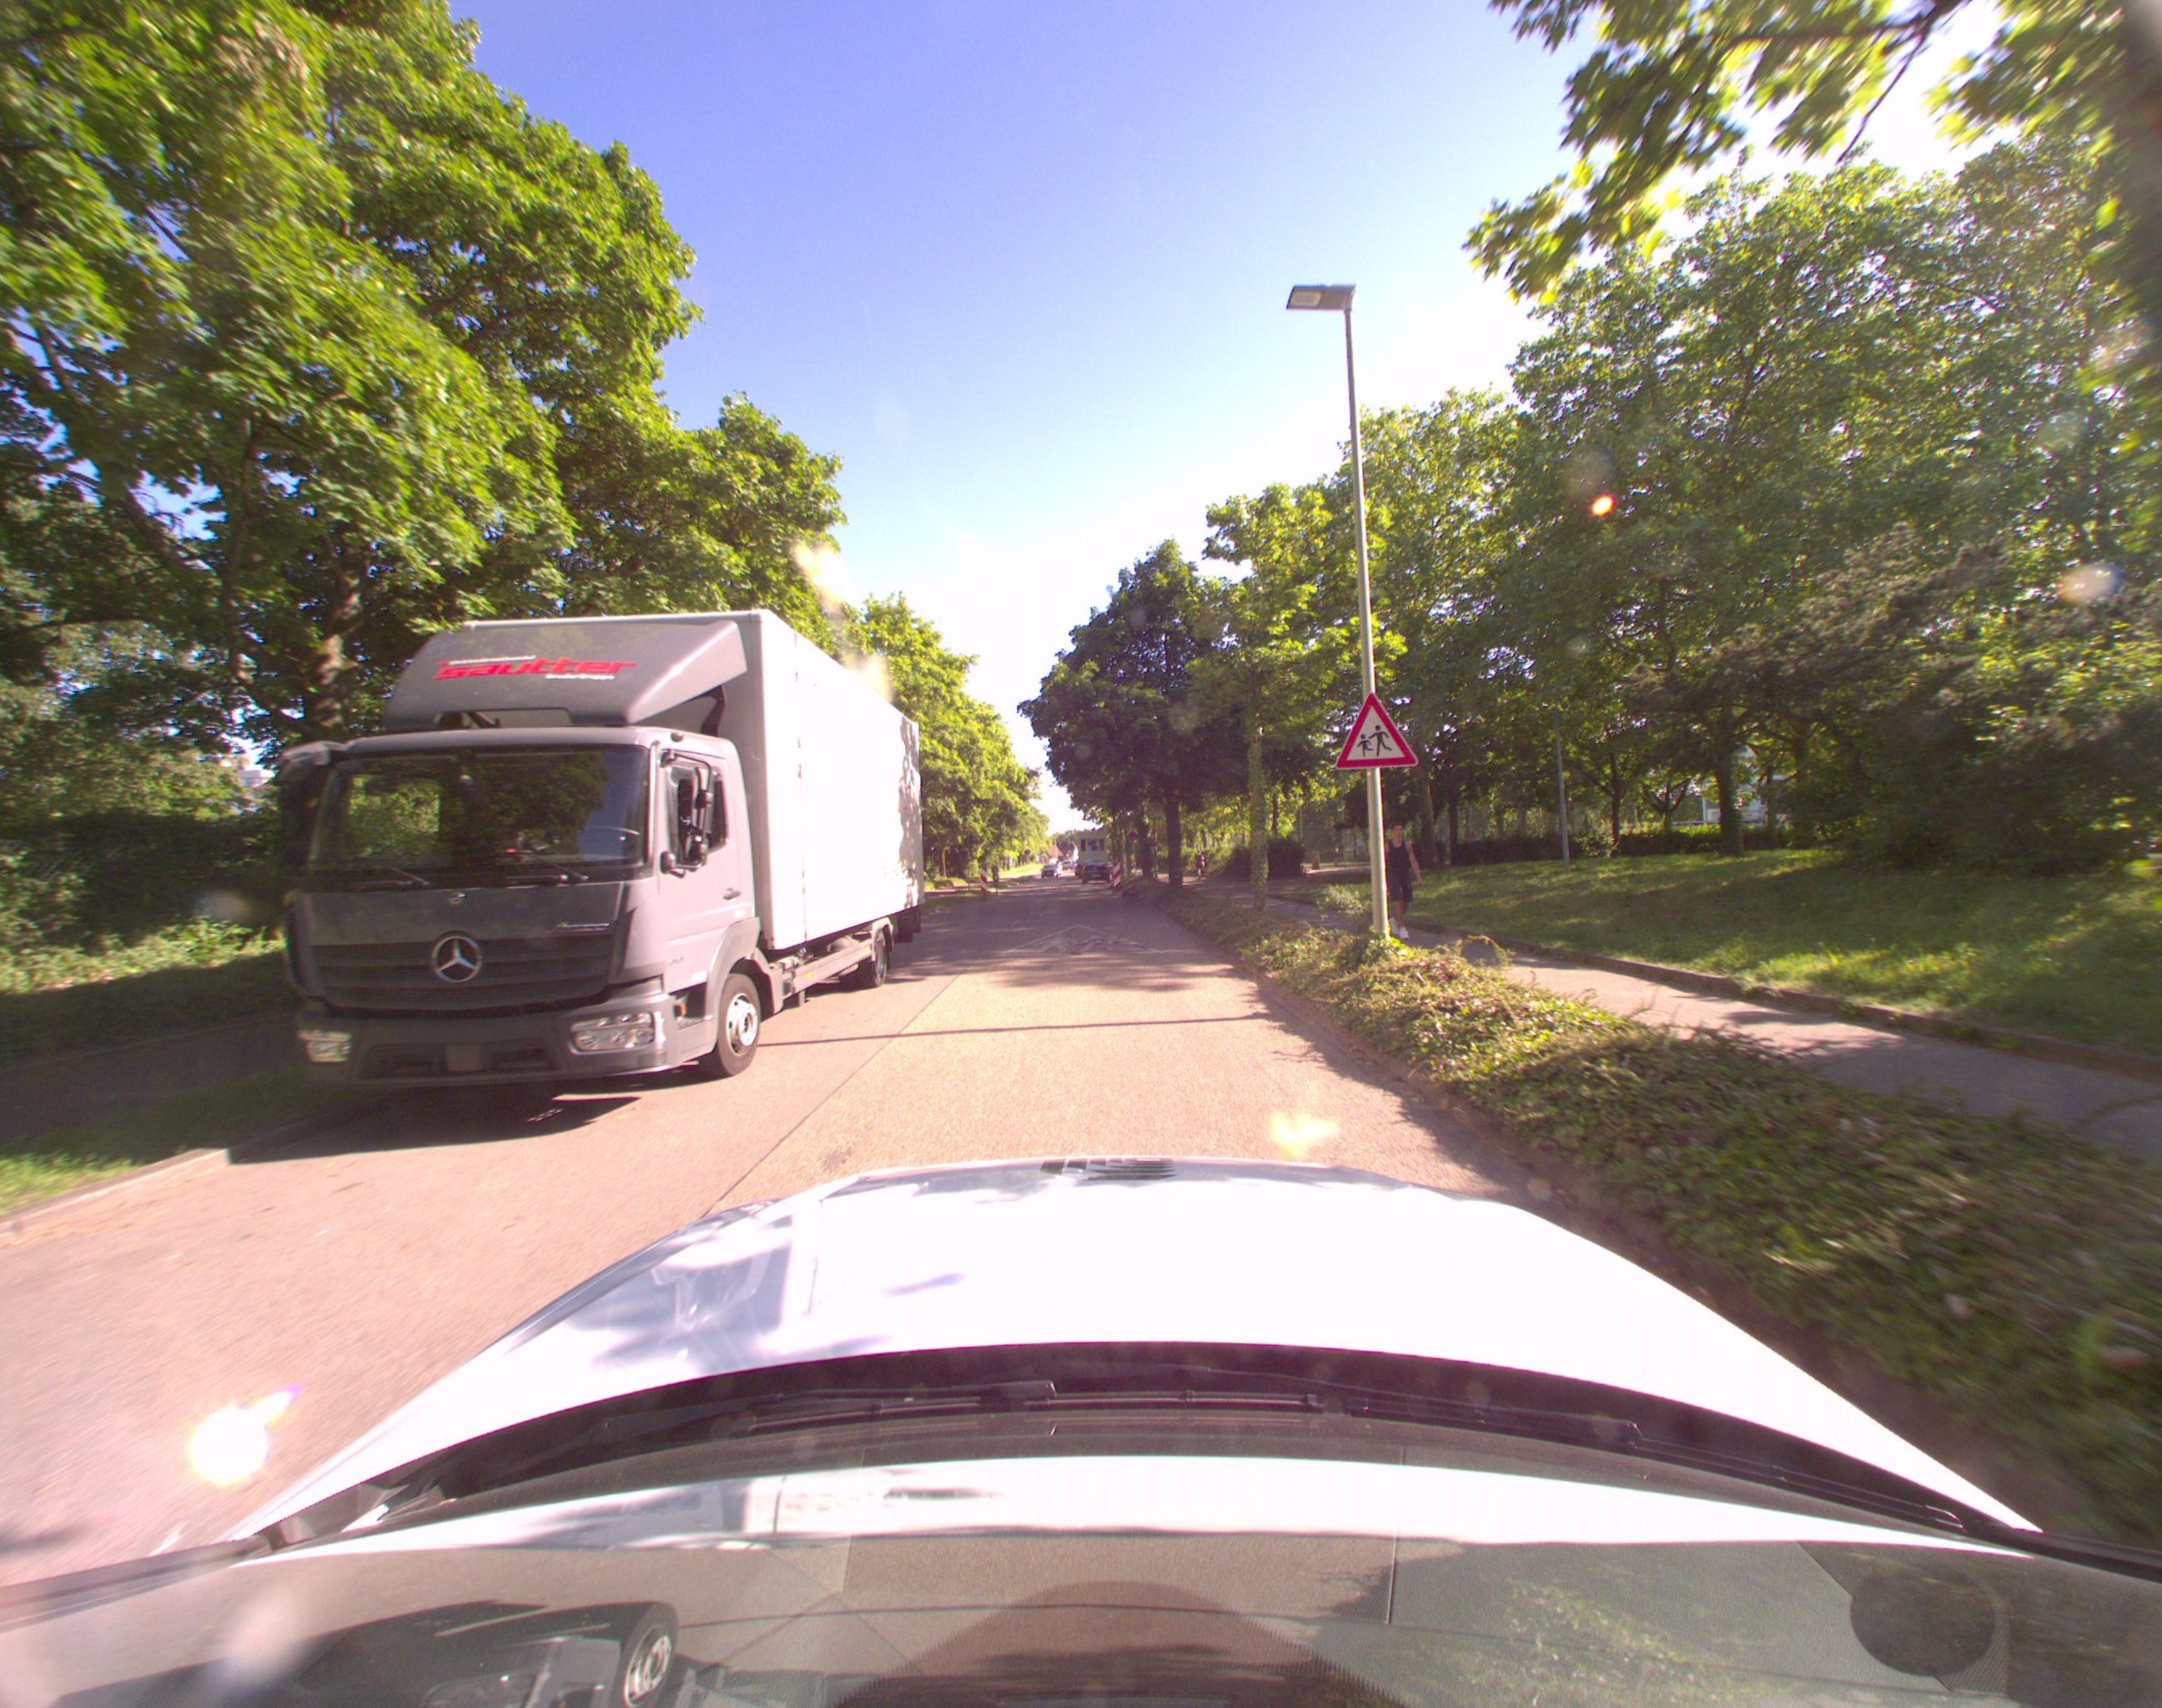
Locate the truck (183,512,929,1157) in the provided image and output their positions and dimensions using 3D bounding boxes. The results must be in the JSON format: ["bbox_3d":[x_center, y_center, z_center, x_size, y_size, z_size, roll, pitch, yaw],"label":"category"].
[{"bbox_3d":[-3.787,-0.112,8.767,2.726,3.641,8.098,-2,0,-1],"label":"truck"}]

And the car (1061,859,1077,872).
[{"bbox_3d":[-1.870,1.845,130.416,1.983,2.013,4.007,-3,0,6],"label":"car"}]

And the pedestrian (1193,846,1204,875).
[{"bbox_3d":[6.502,0.358,45.019,0.568,1.608,0.673,-2,-1,9],"label":"pedestrian"}]

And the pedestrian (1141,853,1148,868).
[{"bbox_3d":[7.115,0.723,91.512,0.597,1.611,0.599,-4,-1,-3],"label":"pedestrian"}]

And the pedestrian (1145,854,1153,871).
[{"bbox_3d":[7.673,0.931,91.376,0.696,1.812,0.699,-4,-1,-3],"label":"pedestrian"}]

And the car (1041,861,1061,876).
[{"bbox_3d":[-3.119,1.532,85.048,1.594,1.426,3.655,-4,0,3],"label":"car"}]

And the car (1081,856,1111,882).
[{"bbox_3d":[0.971,0.945,50.875,1.742,1.480,4.032,-2,-1,2],"label":"car"}]

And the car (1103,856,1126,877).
[{"bbox_3d":[2.570,0.914,62.546,1.633,1.420,4.002,-4,0,2],"label":"car"}]

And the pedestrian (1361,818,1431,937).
[{"bbox_3d":[5.030,0.364,13.032,0.788,1.832,0.671,-2,-1,0],"label":"pedestrian"}]

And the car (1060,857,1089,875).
[{"bbox_3d":[-0.595,1.240,83.507,1.979,1.684,4.015,-2,0,14],"label":"car"}]

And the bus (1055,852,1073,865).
[{"bbox_3d":[-4.710,1.193,227.960,4.049,3.349,9.806,-4,0,2],"label":"bus"}]

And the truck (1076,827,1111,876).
[{"bbox_3d":[1.008,-0.178,72.957,2.764,3.996,10.345,-1,0,0],"label":"truck"}]

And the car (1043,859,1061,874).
[{"bbox_3d":[-3.330,1.430,93.938,1.749,1.454,4.244,-4,0,1],"label":"car"}]
